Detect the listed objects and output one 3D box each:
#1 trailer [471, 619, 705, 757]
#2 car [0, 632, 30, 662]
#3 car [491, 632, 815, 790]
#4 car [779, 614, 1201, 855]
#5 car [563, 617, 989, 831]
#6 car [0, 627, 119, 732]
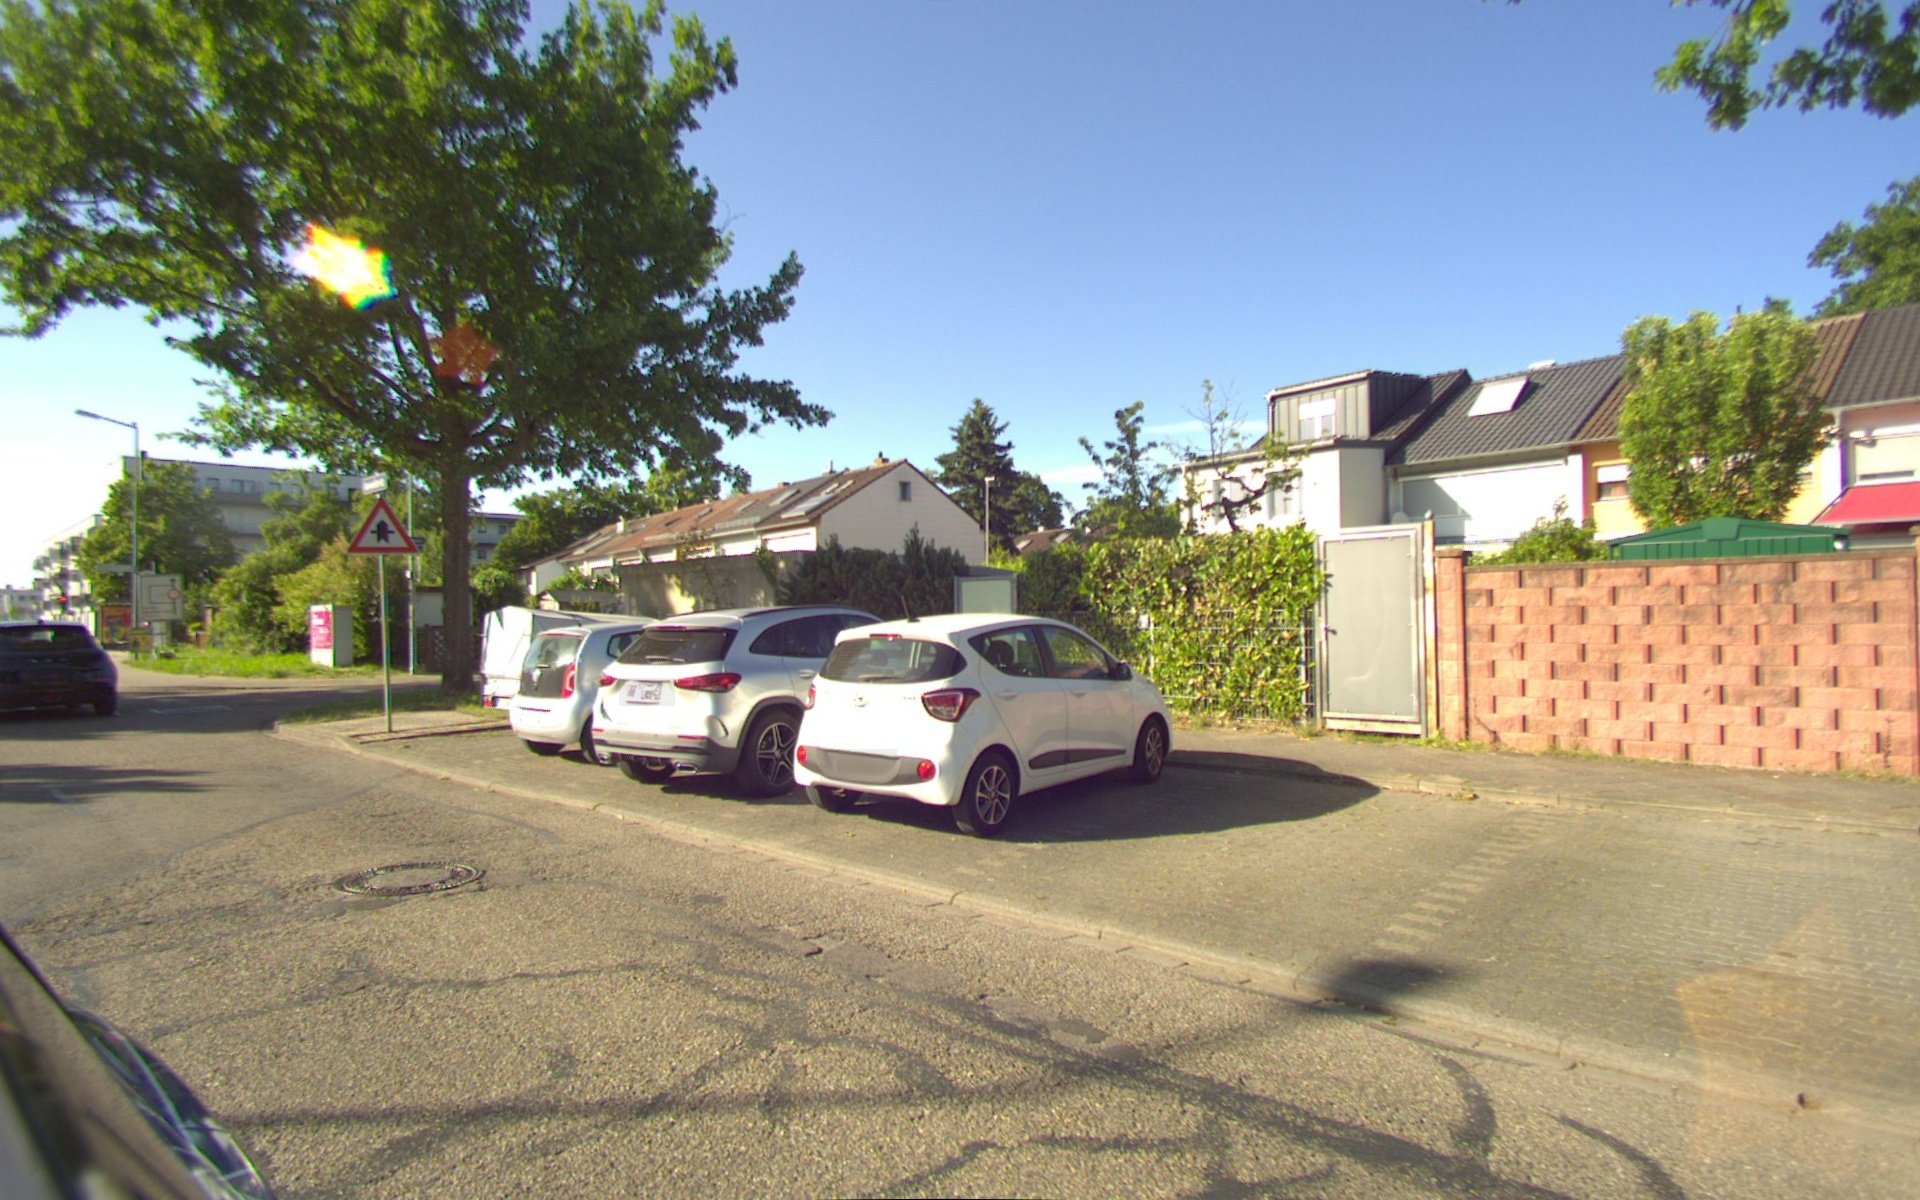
[{"bbox_3d":[-4.995,1.099,13.804,1.297,1.660,2.734,0,-1,36],"label":"trailer"},{"bbox_3d":[-49.670,2.413,52.548,3.851,1.489,1.741,-2,-2,43],"label":"car"},{"bbox_3d":[-3.464,1.153,11.773,1.615,1.489,3.260,-1,-1,42],"label":"car"},{"bbox_3d":[0.412,0.887,8.260,1.706,1.507,3.480,-2,-2,38],"label":"car"},{"bbox_3d":[-1.571,0.988,9.875,1.917,1.586,3.920,-1,-1,34],"label":"car"},{"bbox_3d":[-15.351,1.234,16.643,3.944,1.552,1.719,-2,-2,41],"label":"car"}]
